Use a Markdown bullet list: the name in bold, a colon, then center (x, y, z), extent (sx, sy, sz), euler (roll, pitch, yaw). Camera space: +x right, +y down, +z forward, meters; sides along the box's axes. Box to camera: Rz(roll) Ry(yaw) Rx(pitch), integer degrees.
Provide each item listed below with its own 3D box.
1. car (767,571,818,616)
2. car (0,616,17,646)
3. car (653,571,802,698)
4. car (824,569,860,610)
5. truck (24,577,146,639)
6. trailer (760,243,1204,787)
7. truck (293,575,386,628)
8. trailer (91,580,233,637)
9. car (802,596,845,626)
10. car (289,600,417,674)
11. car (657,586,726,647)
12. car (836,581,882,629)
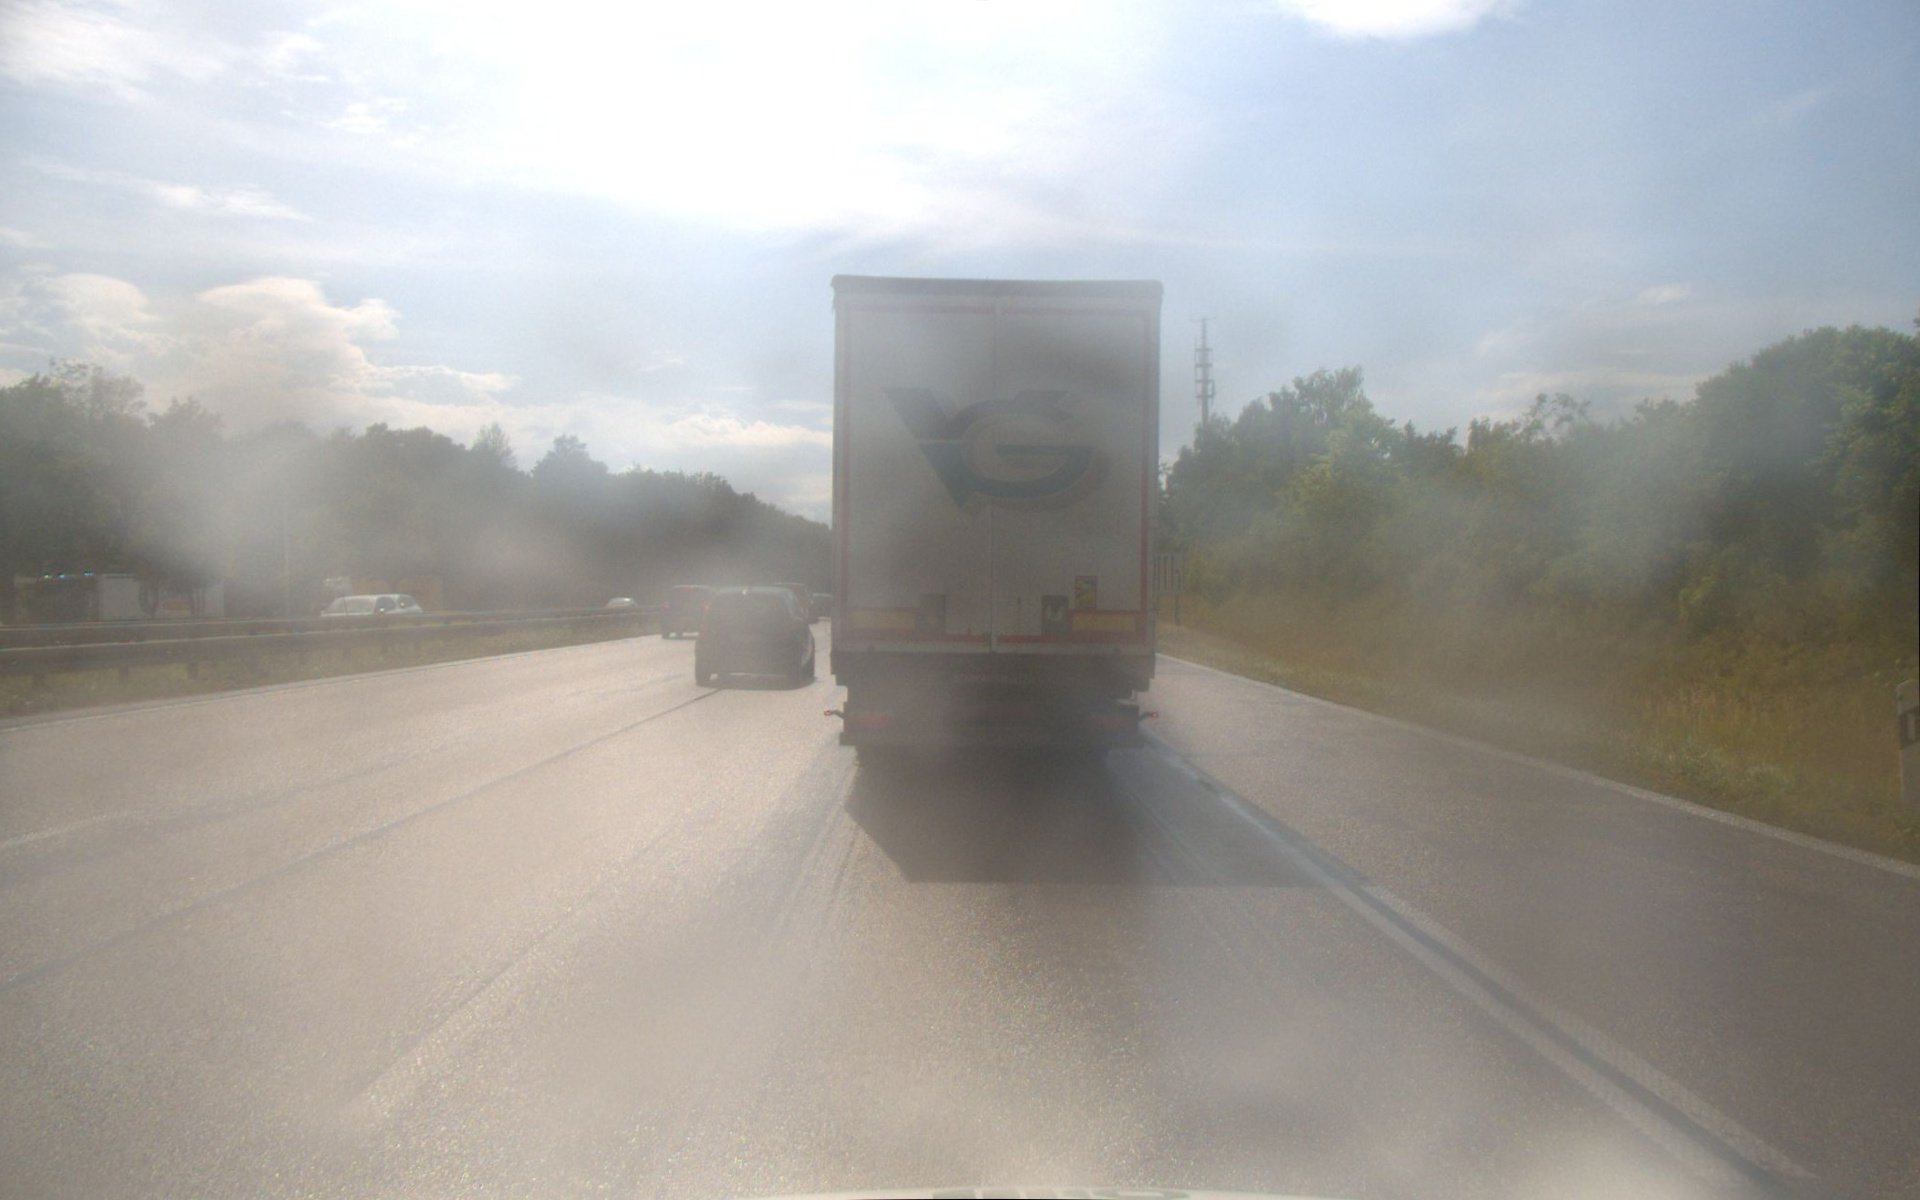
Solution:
- **car**: center (-8.245, -0.305, 81.816), extent (1.938, 2.090, 4.756), euler (1, 0, 0)
- **car**: center (-56.548, 1.775, 95.055), extent (2.016, 1.748, 4.369), euler (1, 0, 2)
- **car**: center (-3.946, 0.561, 28.867), extent (2.230, 1.989, 4.816), euler (1, 0, -5)
- **car**: center (-7.838, -0.669, 110.198), extent (1.952, 2.661, 5.259), euler (1, 0, 0)
- **truck**: center (-55.469, 0.503, 105.070), extent (3.708, 3.724, 6.709), euler (1, 0, 5)
- **trailer**: center (0.051, -0.651, 19.402), extent (3.217, 3.967, 14.125), euler (1, 0, -1)
- **truck**: center (-50.676, 0.168, 135.264), extent (3.707, 4.189, 7.051), euler (1, 0, 13)
- **trailer**: center (-54.563, 0.518, 113.540), extent (3.708, 3.713, 10.505), euler (0, 0, 7)
- **car**: center (-7.685, 0.604, 93.201), extent (1.952, 1.592, 4.756), euler (1, 0, 0)
- **car**: center (-16.741, 0.988, 45.892), extent (1.793, 1.924, 4.778), euler (1, 0, -1)
- **car**: center (-8.608, 0.515, 53.206), extent (1.658, 1.836, 3.974), euler (1, 0, -2)
- **car**: center (-4.023, 0.190, 66.360), extent (1.658, 1.836, 3.974), euler (1, 0, -2)
